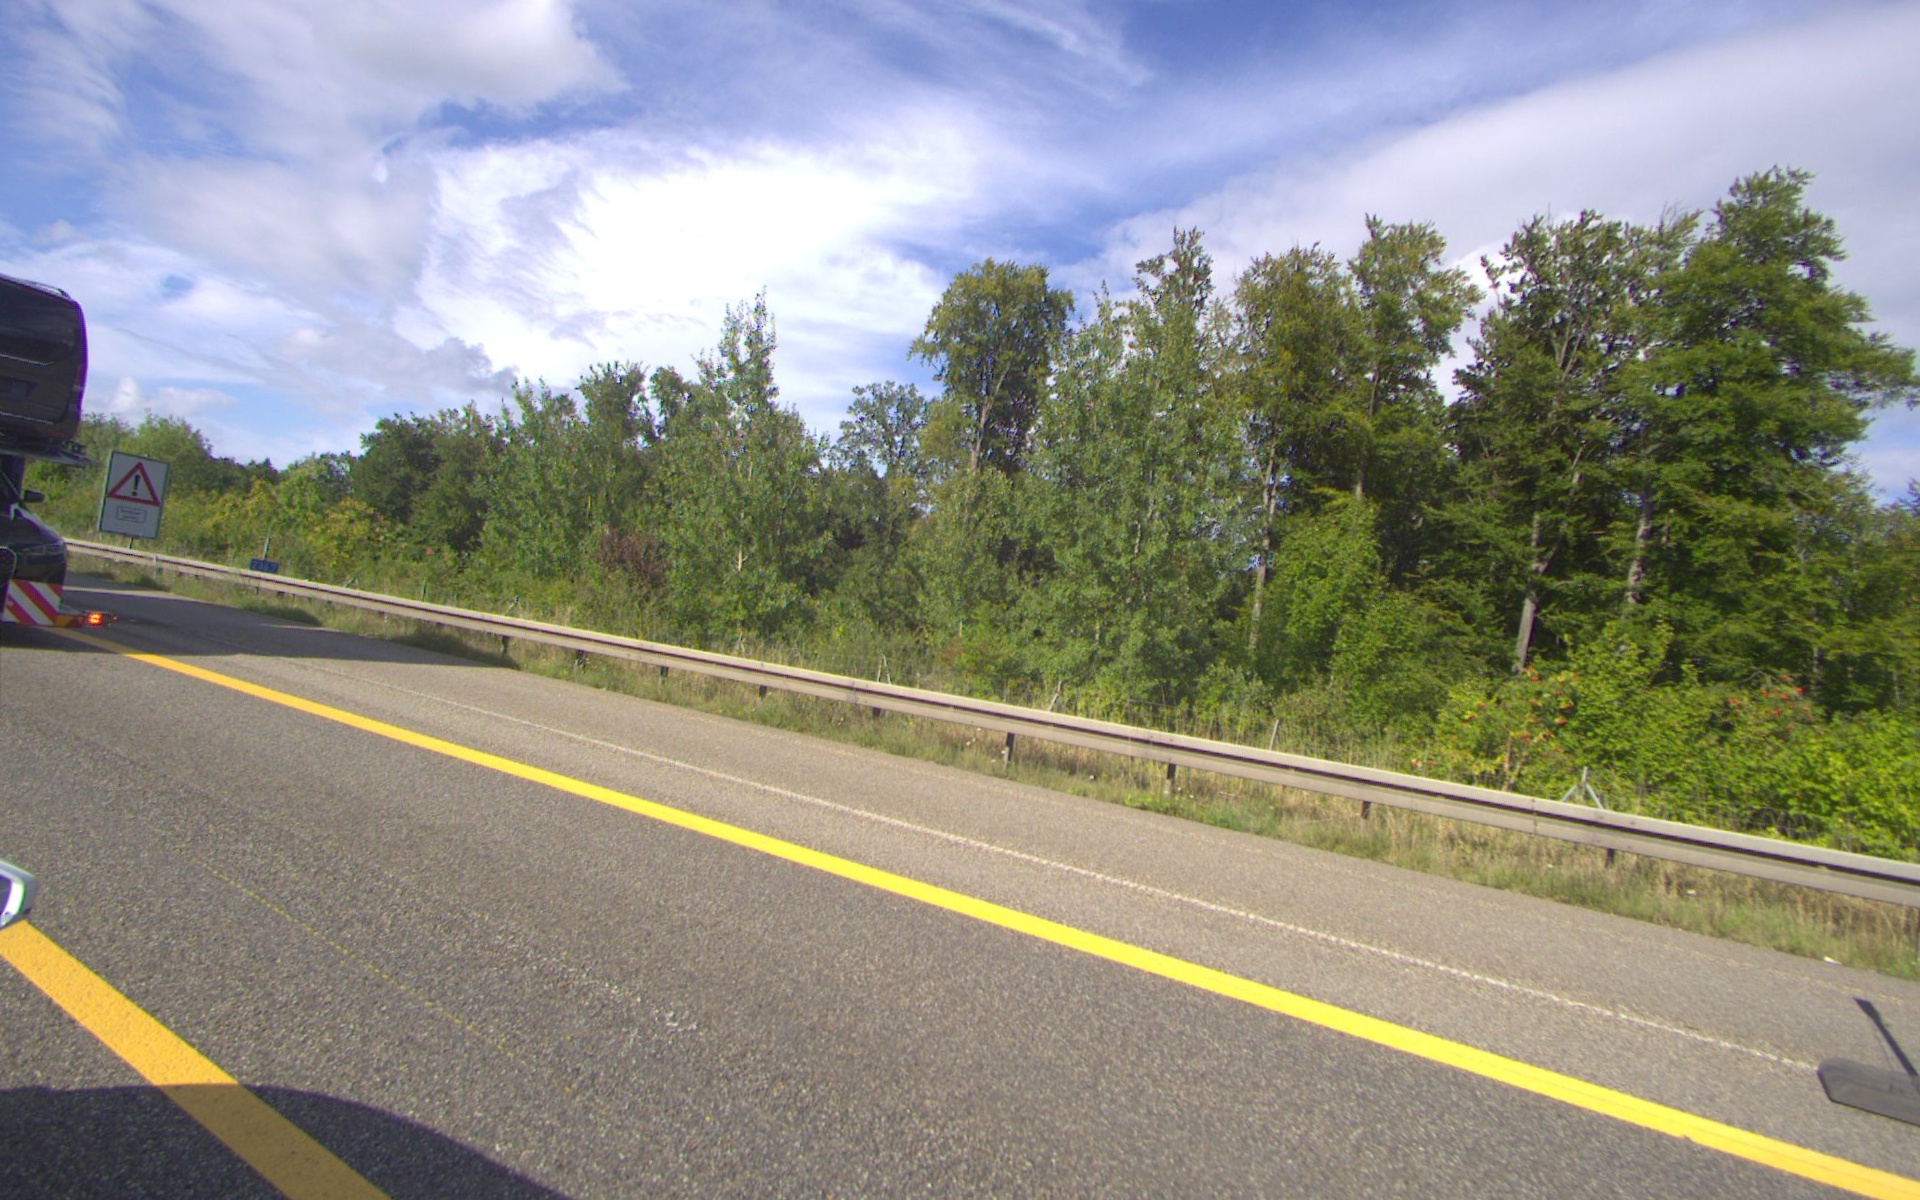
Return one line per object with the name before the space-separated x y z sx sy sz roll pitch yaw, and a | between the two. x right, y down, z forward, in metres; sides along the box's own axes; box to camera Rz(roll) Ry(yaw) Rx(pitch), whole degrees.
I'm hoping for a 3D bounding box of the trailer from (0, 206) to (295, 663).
trailer | -15.783 -2.306 14.304 15.956 4.245 3.734 6 -2 31
